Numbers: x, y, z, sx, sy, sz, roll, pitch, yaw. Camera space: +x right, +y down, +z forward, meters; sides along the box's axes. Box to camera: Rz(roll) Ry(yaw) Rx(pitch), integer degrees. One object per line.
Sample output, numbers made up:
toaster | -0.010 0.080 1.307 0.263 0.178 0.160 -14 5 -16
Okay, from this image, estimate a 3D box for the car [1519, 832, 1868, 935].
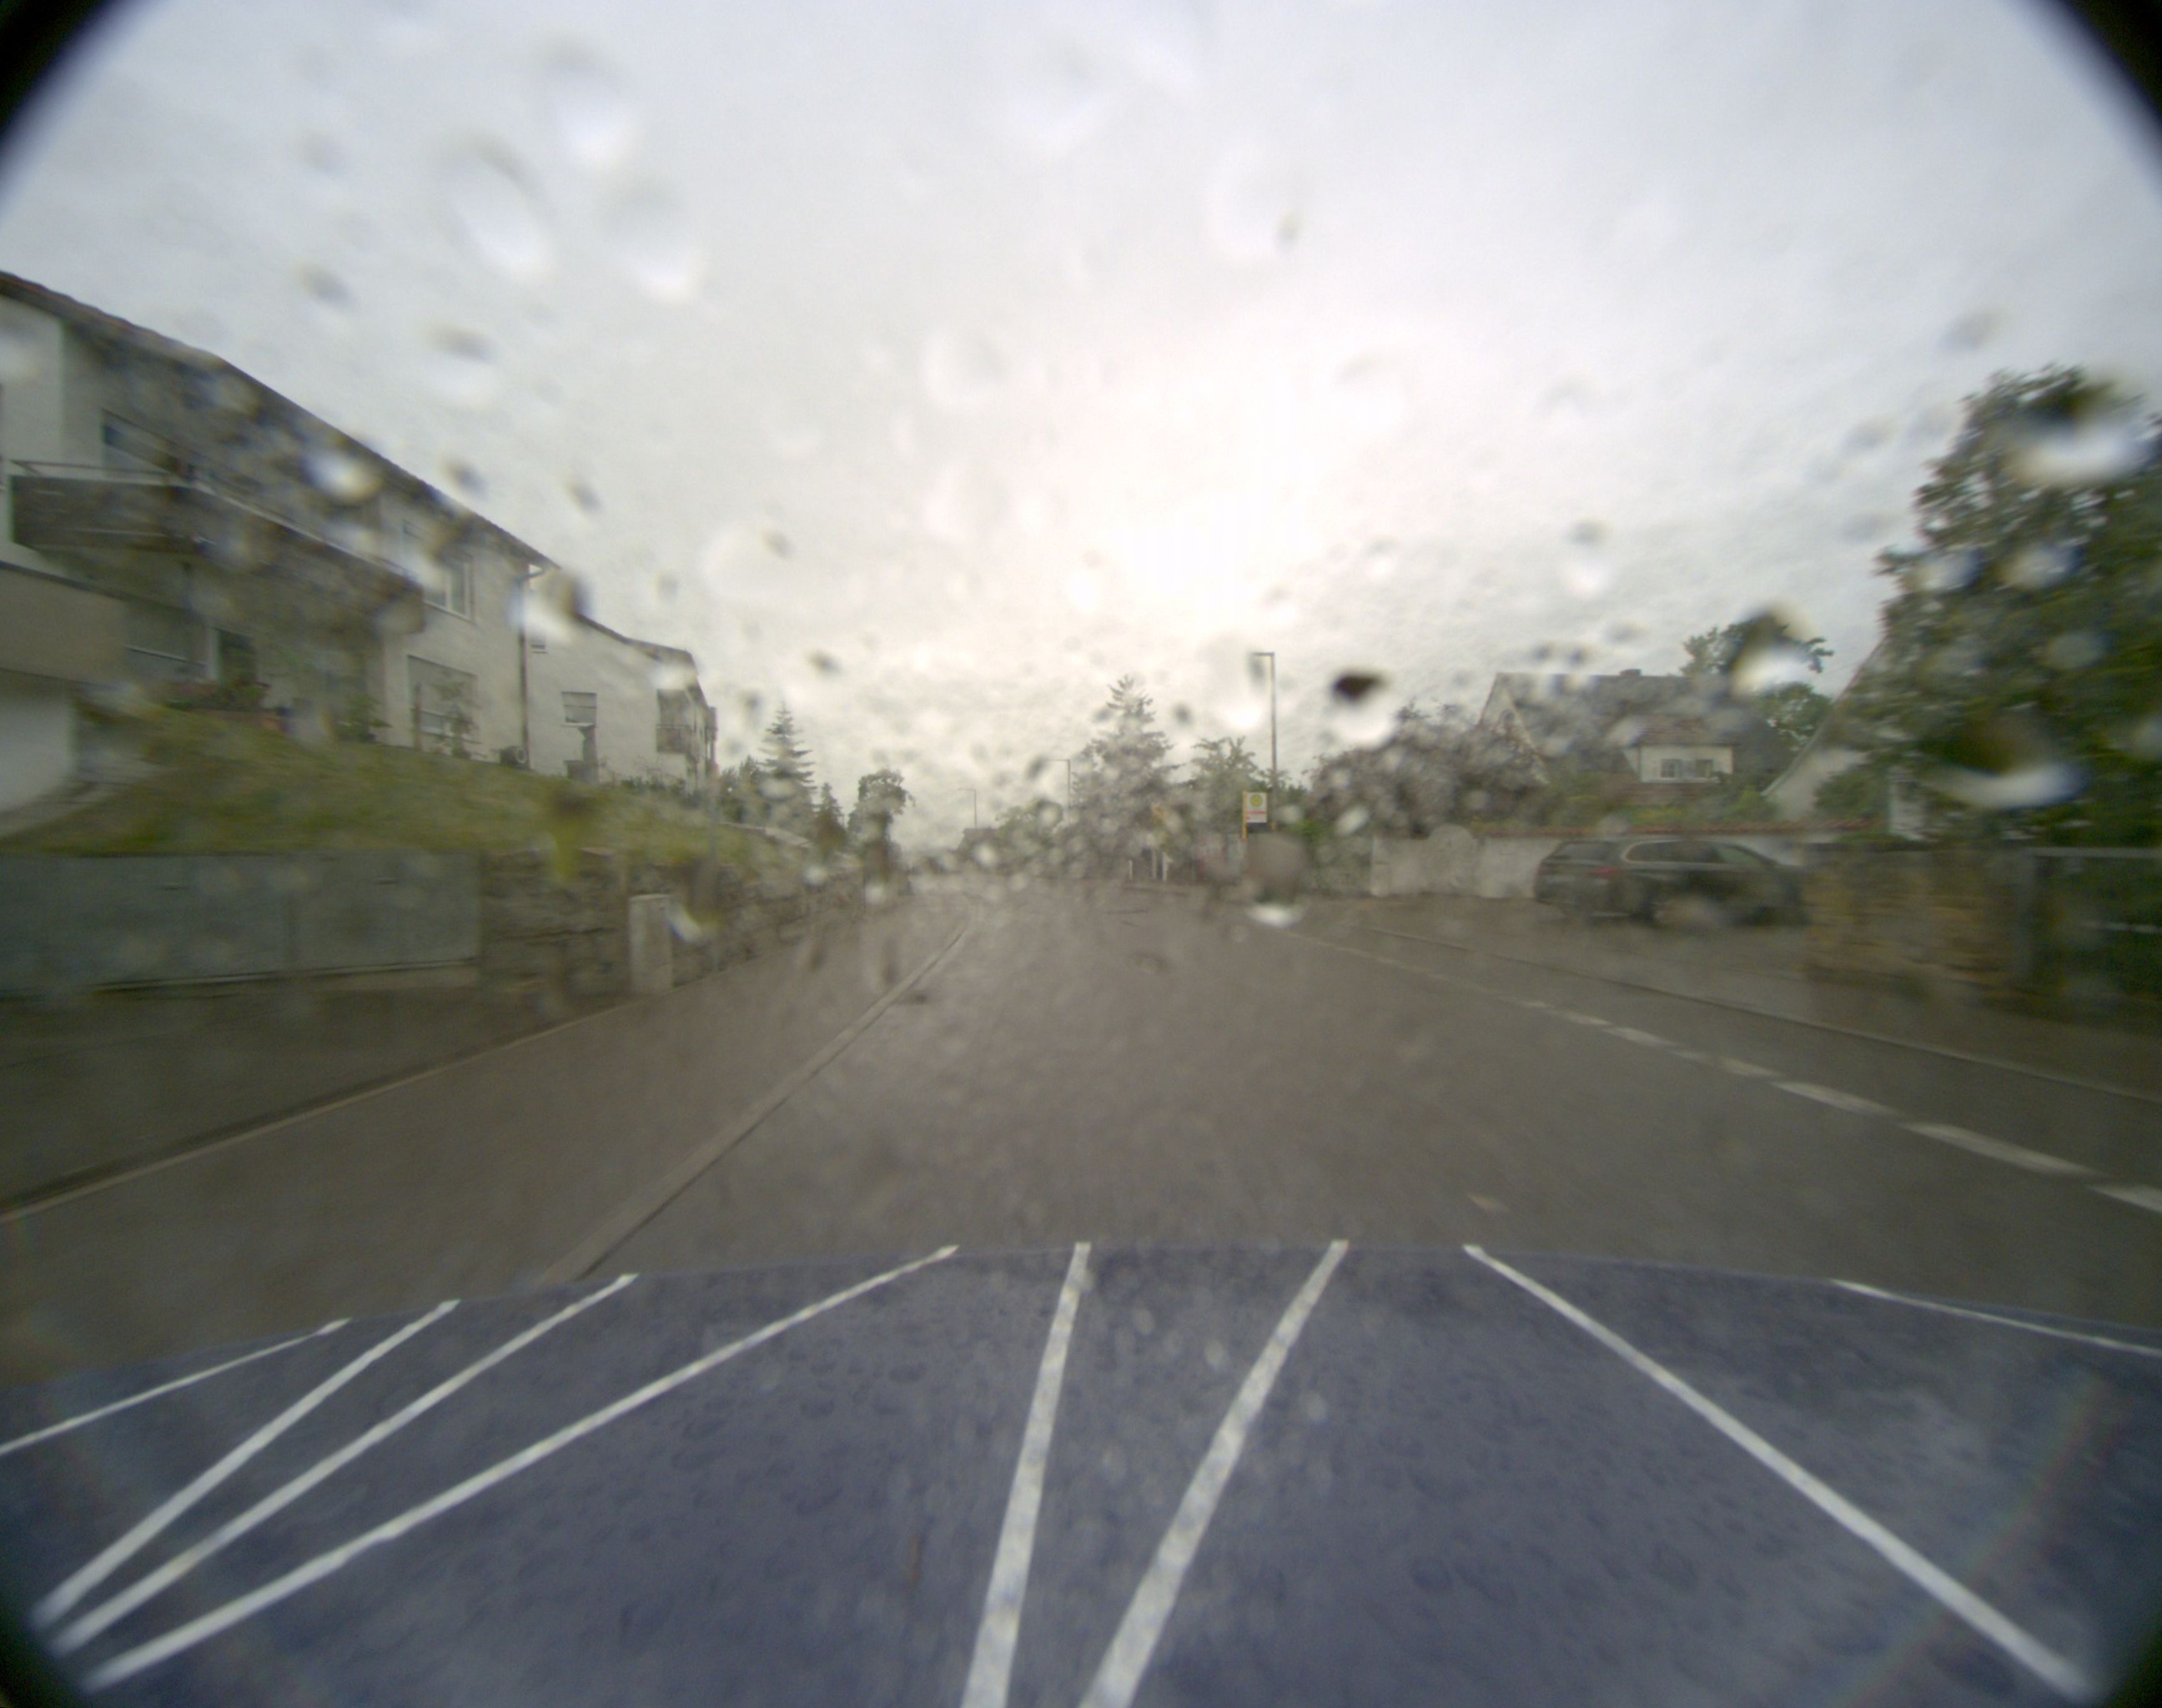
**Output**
car | 10.103 0.451 12.727 4.554 1.467 1.838 -2 0 -6
